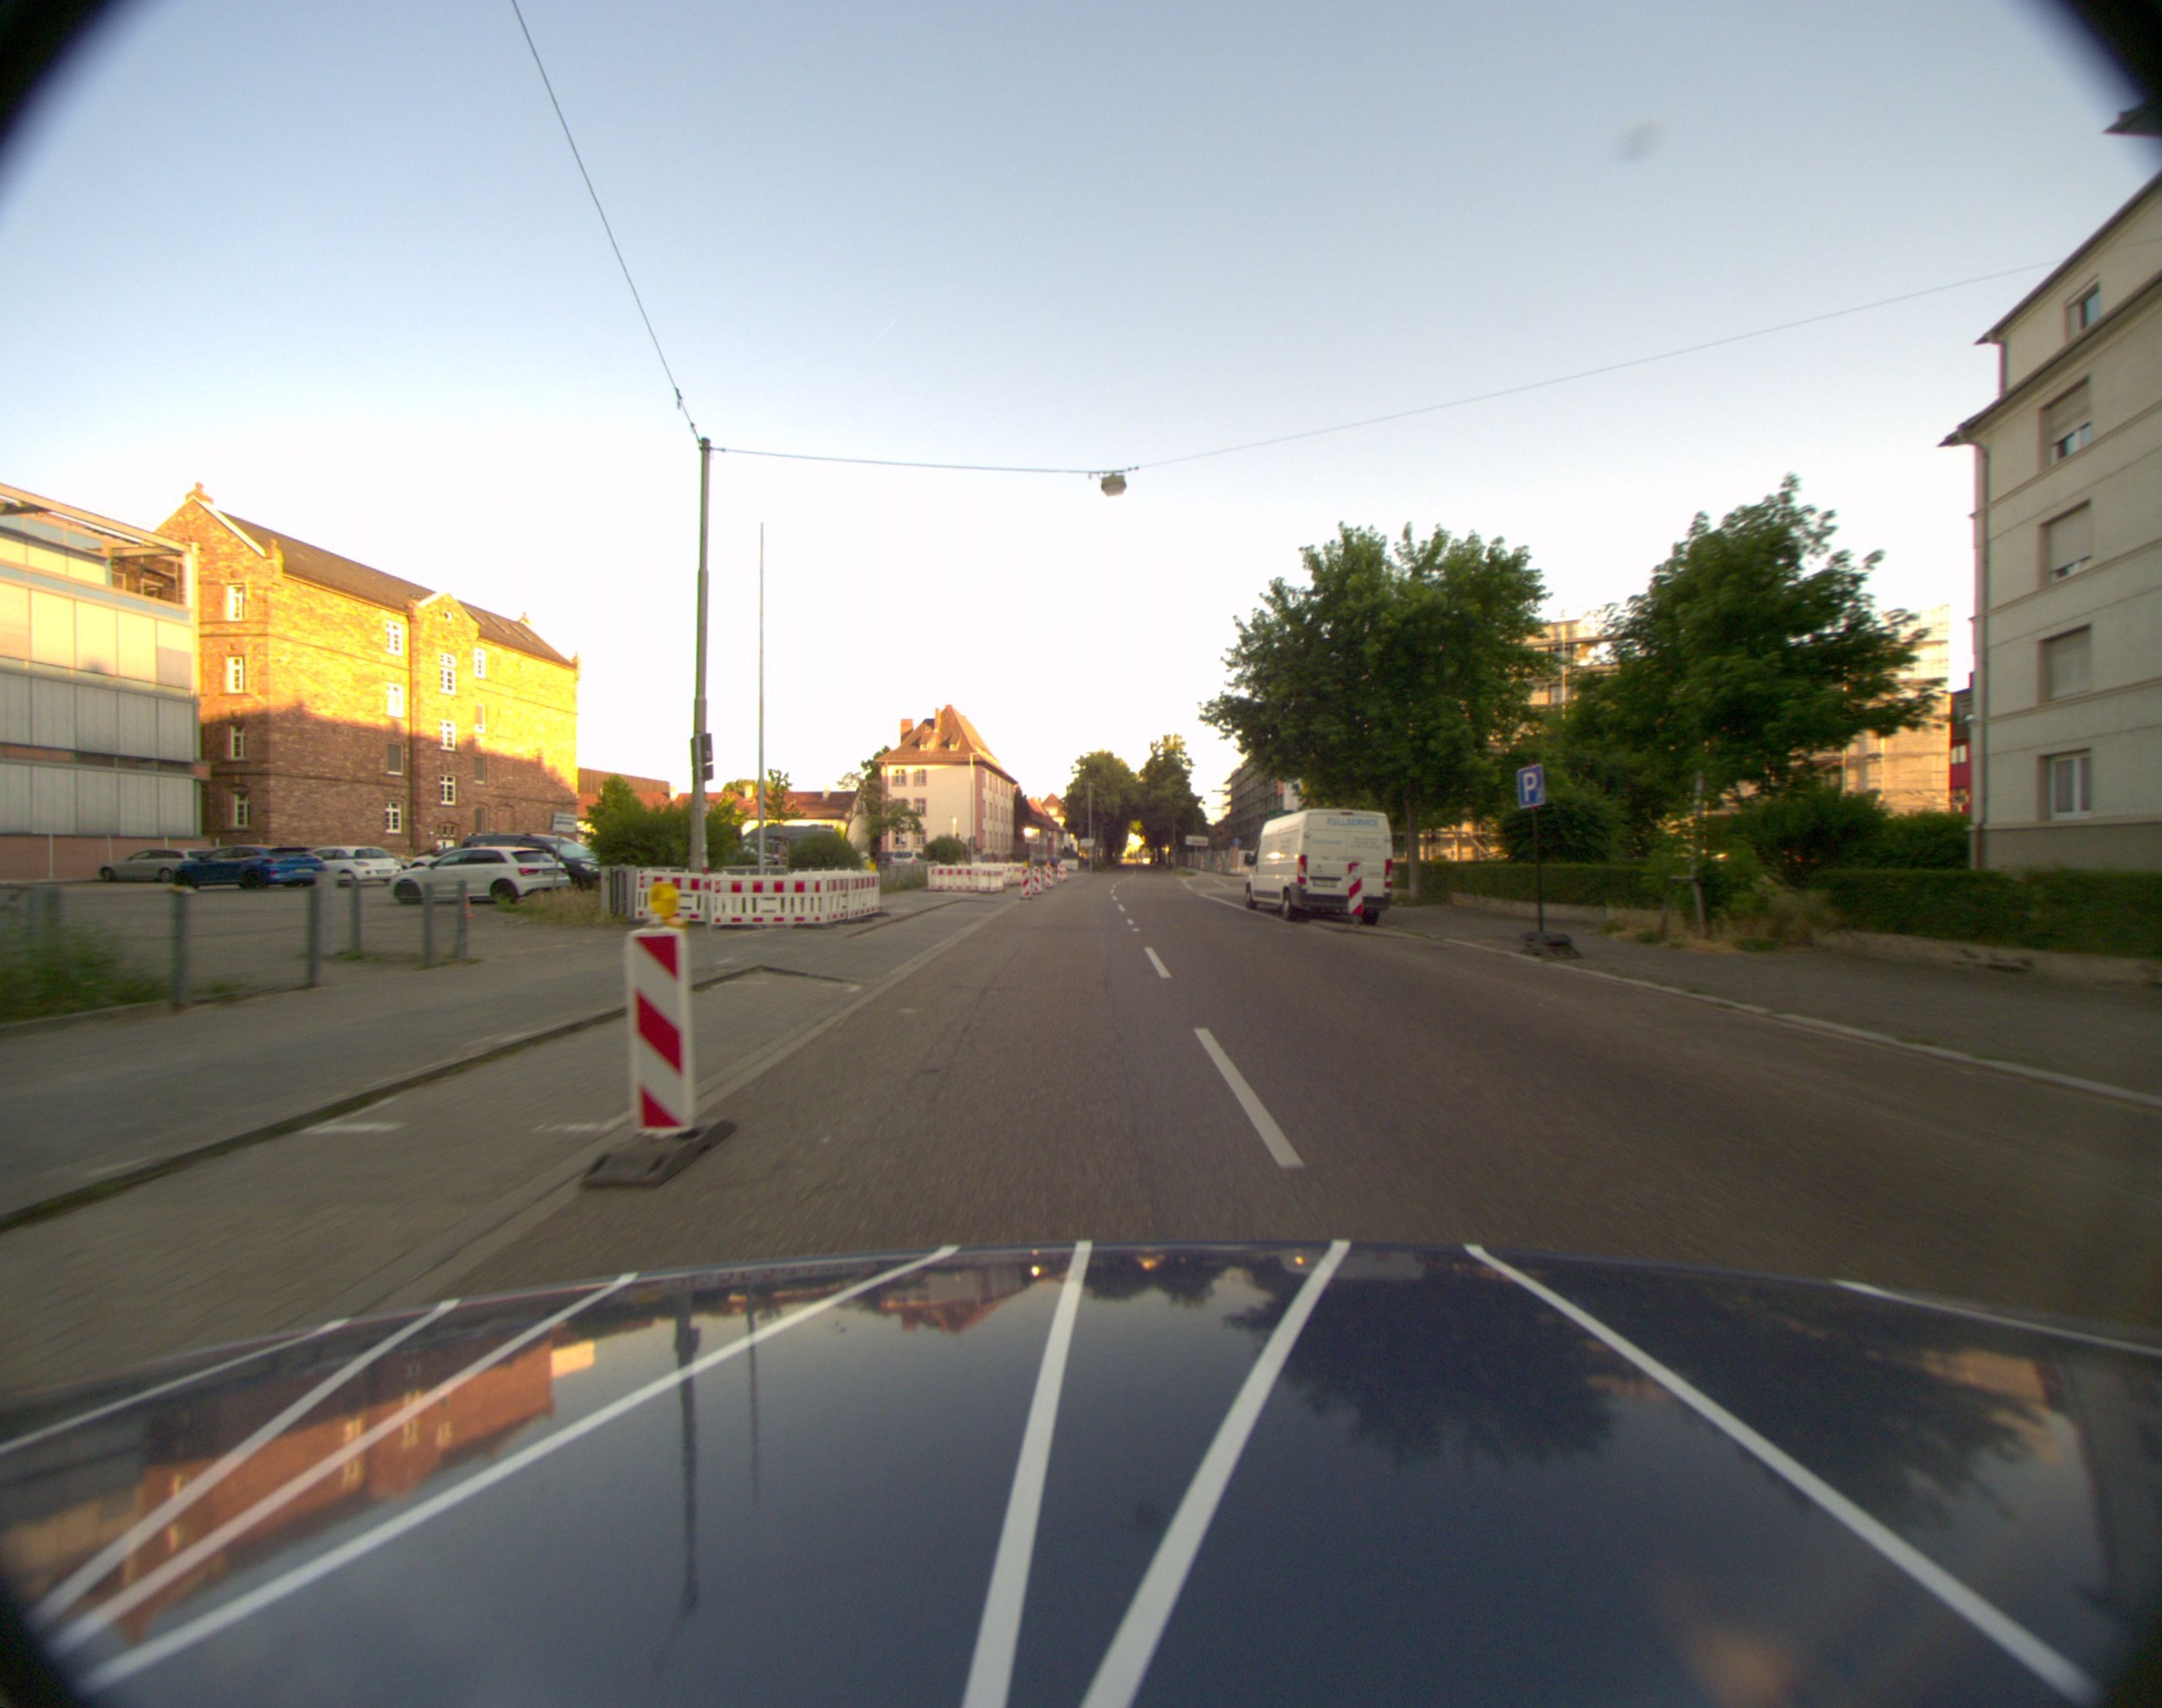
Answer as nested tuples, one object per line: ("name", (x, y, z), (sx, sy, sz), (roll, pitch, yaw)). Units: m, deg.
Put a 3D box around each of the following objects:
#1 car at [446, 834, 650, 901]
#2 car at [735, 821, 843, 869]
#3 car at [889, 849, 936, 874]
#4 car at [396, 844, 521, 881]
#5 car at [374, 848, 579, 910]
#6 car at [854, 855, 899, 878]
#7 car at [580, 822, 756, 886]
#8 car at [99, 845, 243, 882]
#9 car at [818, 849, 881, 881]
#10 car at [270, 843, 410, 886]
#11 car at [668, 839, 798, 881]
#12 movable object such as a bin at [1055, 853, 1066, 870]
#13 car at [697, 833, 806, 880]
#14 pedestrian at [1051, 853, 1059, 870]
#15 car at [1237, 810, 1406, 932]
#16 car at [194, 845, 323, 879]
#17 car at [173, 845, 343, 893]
("car", (-15.124, 0.359, 21.740), (4.489, 1.800, 2.005), (0, 0, 3))
("car", (-14.040, -0.424, 36.704), (4.433, 2.184, 2.001), (0, 0, 5))
("car", (-11.182, 0.475, 50.719), (1.919, 1.620, 4.808), (0, 0, 1))
("car", (-26.999, 0.357, 33.042), (3.926, 1.508, 2.001), (0, 0, 6))
("car", (-15.082, 0.596, 19.083), (3.839, 1.444, 1.695), (0, 0, 3))
("car", (-14.527, 0.867, 54.142), (2.015, 1.591, 4.000), (0, 0, 1))
("car", (-14.413, 0.016, 26.703), (5.030, 2.117, 2.291), (0, 0, 8))
("car", (-38.489, 0.378, 32.210), (4.143, 1.508, 1.828), (0, 0, 4))
("car", (-12.336, 0.544, 40.719), (1.700, 1.639, 4.138), (0, 0, 6))
("car", (-27.079, 0.372, 27.822), (3.726, 1.508, 1.828), (0, 0, 9))
("car", (-14.339, 0.240, 31.444), (4.433, 1.639, 2.001), (0, 0, 5))
("movable object such as a bin", (-1.879, 0.698, 71.002), (0.978, 1.600, 0.634), (0, 1, -5))
("car", (-14.601, 0.093, 33.810), (3.995, 2.002, 2.001), (0, 0, 5))
("pedestrian", (-2.380, 0.709, 70.321), (0.716, 1.600, 0.518), (0, 1, -5))
("car", (5.652, 0.350, 18.930), (2.184, 2.447, 6.103), (3, 0, 0))
("car", (-37.942, 0.373, 35.103), (4.143, 1.508, 1.828), (0, 0, 4))
("car", (-27.563, 0.472, 25.515), (3.937, 1.508, 1.986), (0, 0, 8))
